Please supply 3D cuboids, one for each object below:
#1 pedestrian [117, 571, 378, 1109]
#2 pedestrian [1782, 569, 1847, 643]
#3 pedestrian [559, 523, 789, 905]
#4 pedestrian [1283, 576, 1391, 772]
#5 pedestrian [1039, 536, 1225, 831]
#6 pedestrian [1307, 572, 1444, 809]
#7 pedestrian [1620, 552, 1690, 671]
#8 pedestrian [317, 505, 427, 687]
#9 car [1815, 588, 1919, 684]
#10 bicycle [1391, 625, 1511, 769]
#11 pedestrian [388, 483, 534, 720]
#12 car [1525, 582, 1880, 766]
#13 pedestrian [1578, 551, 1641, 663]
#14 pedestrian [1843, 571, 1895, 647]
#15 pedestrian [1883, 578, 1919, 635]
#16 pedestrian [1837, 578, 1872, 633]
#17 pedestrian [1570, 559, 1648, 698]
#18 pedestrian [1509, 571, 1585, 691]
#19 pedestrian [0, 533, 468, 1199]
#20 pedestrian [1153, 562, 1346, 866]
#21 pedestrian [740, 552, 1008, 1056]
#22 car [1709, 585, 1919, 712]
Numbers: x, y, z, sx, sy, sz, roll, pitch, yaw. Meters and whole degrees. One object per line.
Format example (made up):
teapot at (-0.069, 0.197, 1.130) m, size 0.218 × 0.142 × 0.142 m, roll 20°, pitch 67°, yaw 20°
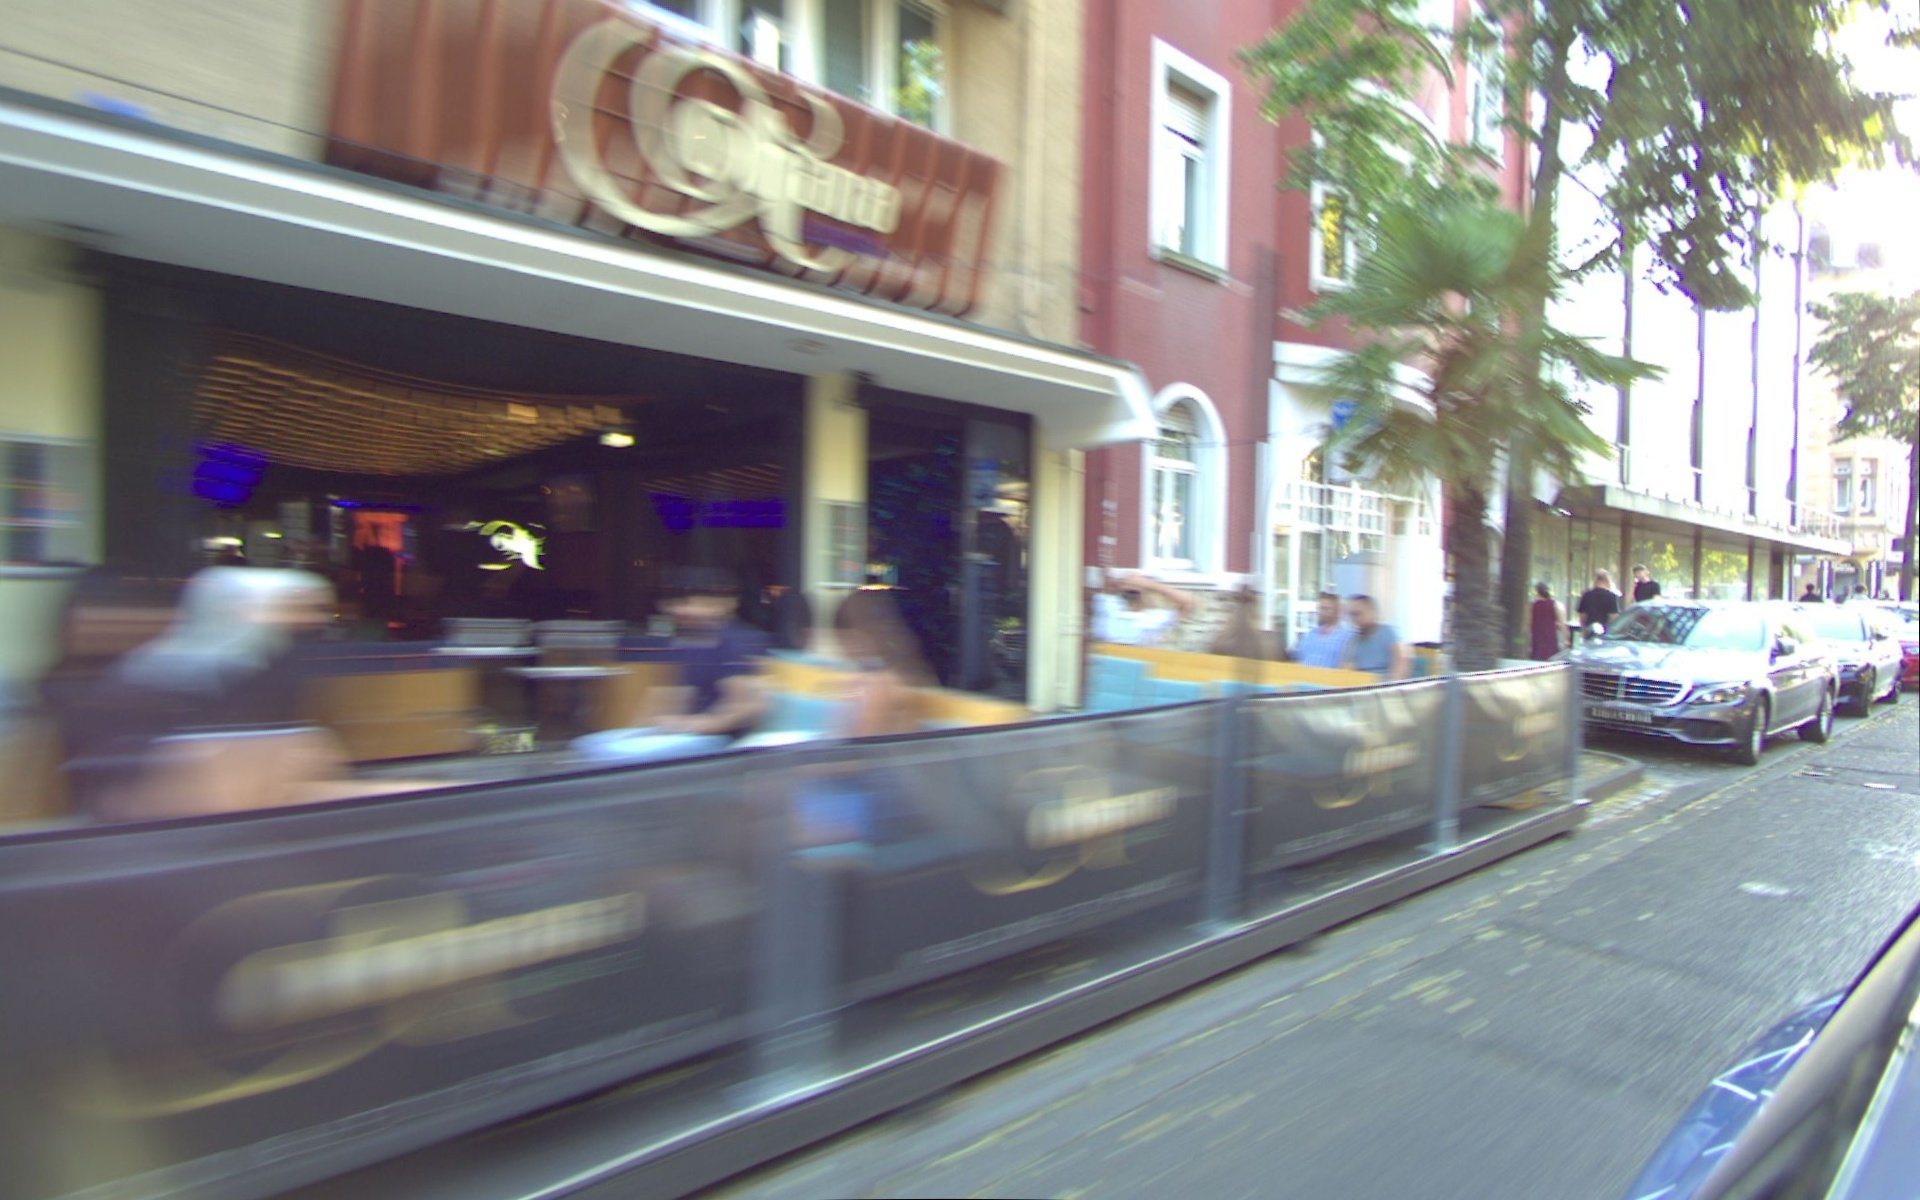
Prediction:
pedestrian at (-2.167, 0.627, 3.067) m, size 0.592 × 1.401 × 0.579 m, roll 0°, pitch 3°, yaw -40°
pedestrian at (22.069, 0.133, 26.143) m, size 0.928 × 1.807 × 1.049 m, roll 0°, pitch 4°, yaw -40°
pedestrian at (-1.174, 0.403, 4.151) m, size 0.705 × 1.401 × 0.579 m, roll 0°, pitch 3°, yaw -40°
pedestrian at (2.777, 0.514, 7.465) m, size 0.430 × 1.361 × 0.549 m, roll 0°, pitch 3°, yaw -40°
pedestrian at (1.030, 0.444, 6.088) m, size 0.781 × 1.618 × 0.709 m, roll 0°, pitch 3°, yaw -40°
pedestrian at (2.789, 0.566, 6.801) m, size 0.592 × 1.480 × 0.579 m, roll 0°, pitch 3°, yaw -40°
pedestrian at (11.575, 0.175, 16.855) m, size 0.959 × 1.890 × 0.627 m, roll 0°, pitch 3°, yaw -41°
pedestrian at (-6.507, -0.051, 11.196) m, size 0.862 × 1.907 × 0.800 m, roll 2°, pitch 1°, yaw -41°
car at (17.258, 0.589, 18.545) m, size 4.670 × 1.511 × 1.726 m, roll 0°, pitch 4°, yaw -42°
bicycle at (3.999, 0.732, 8.183) m, size 0.385 × 0.996 × 1.685 m, roll 2°, pitch 1°, yaw 43°
pedestrian at (-4.292, 0.002, 8.710) m, size 0.863 × 1.907 × 0.800 m, roll 2°, pitch 1°, yaw -44°
car at (8.015, 0.611, 10.730) m, size 4.909 × 1.457 × 1.780 m, roll 0°, pitch 4°, yaw -39°
pedestrian at (11.119, 0.105, 17.328) m, size 0.821 × 1.831 × 0.590 m, roll 0°, pitch 3°, yaw -41°
pedestrian at (22.752, 0.216, 25.334) m, size 0.854 × 1.806 × 0.732 m, roll 0°, pitch 5°, yaw -40°
pedestrian at (30.453, 0.201, 32.729) m, size 0.798 × 1.780 × 0.756 m, roll 0°, pitch 1°, yaw -41°
pedestrian at (29.843, 0.169, 33.768) m, size 0.798 × 1.780 × 0.756 m, roll 0°, pitch 1°, yaw -41°
pedestrian at (8.250, 0.339, 12.867) m, size 0.629 × 1.698 × 0.626 m, roll 0°, pitch 2°, yaw -40°
pedestrian at (7.669, 0.382, 13.224) m, size 0.629 × 1.507 × 0.626 m, roll 0°, pitch 2°, yaw -40°
pedestrian at (-1.444, 0.550, 2.025) m, size 0.691 × 1.335 × 0.579 m, roll 0°, pitch 3°, yaw -40°
pedestrian at (1.582, 0.562, 5.541) m, size 0.781 × 1.503 × 0.633 m, roll 0°, pitch 3°, yaw -40°
pedestrian at (-0.281, 0.561, 3.231) m, size 0.592 × 1.401 × 0.579 m, roll 0°, pitch 3°, yaw -40°
car at (12.585, 0.588, 14.741) m, size 4.341 × 1.488 × 1.778 m, roll 0°, pitch 4°, yaw -42°
